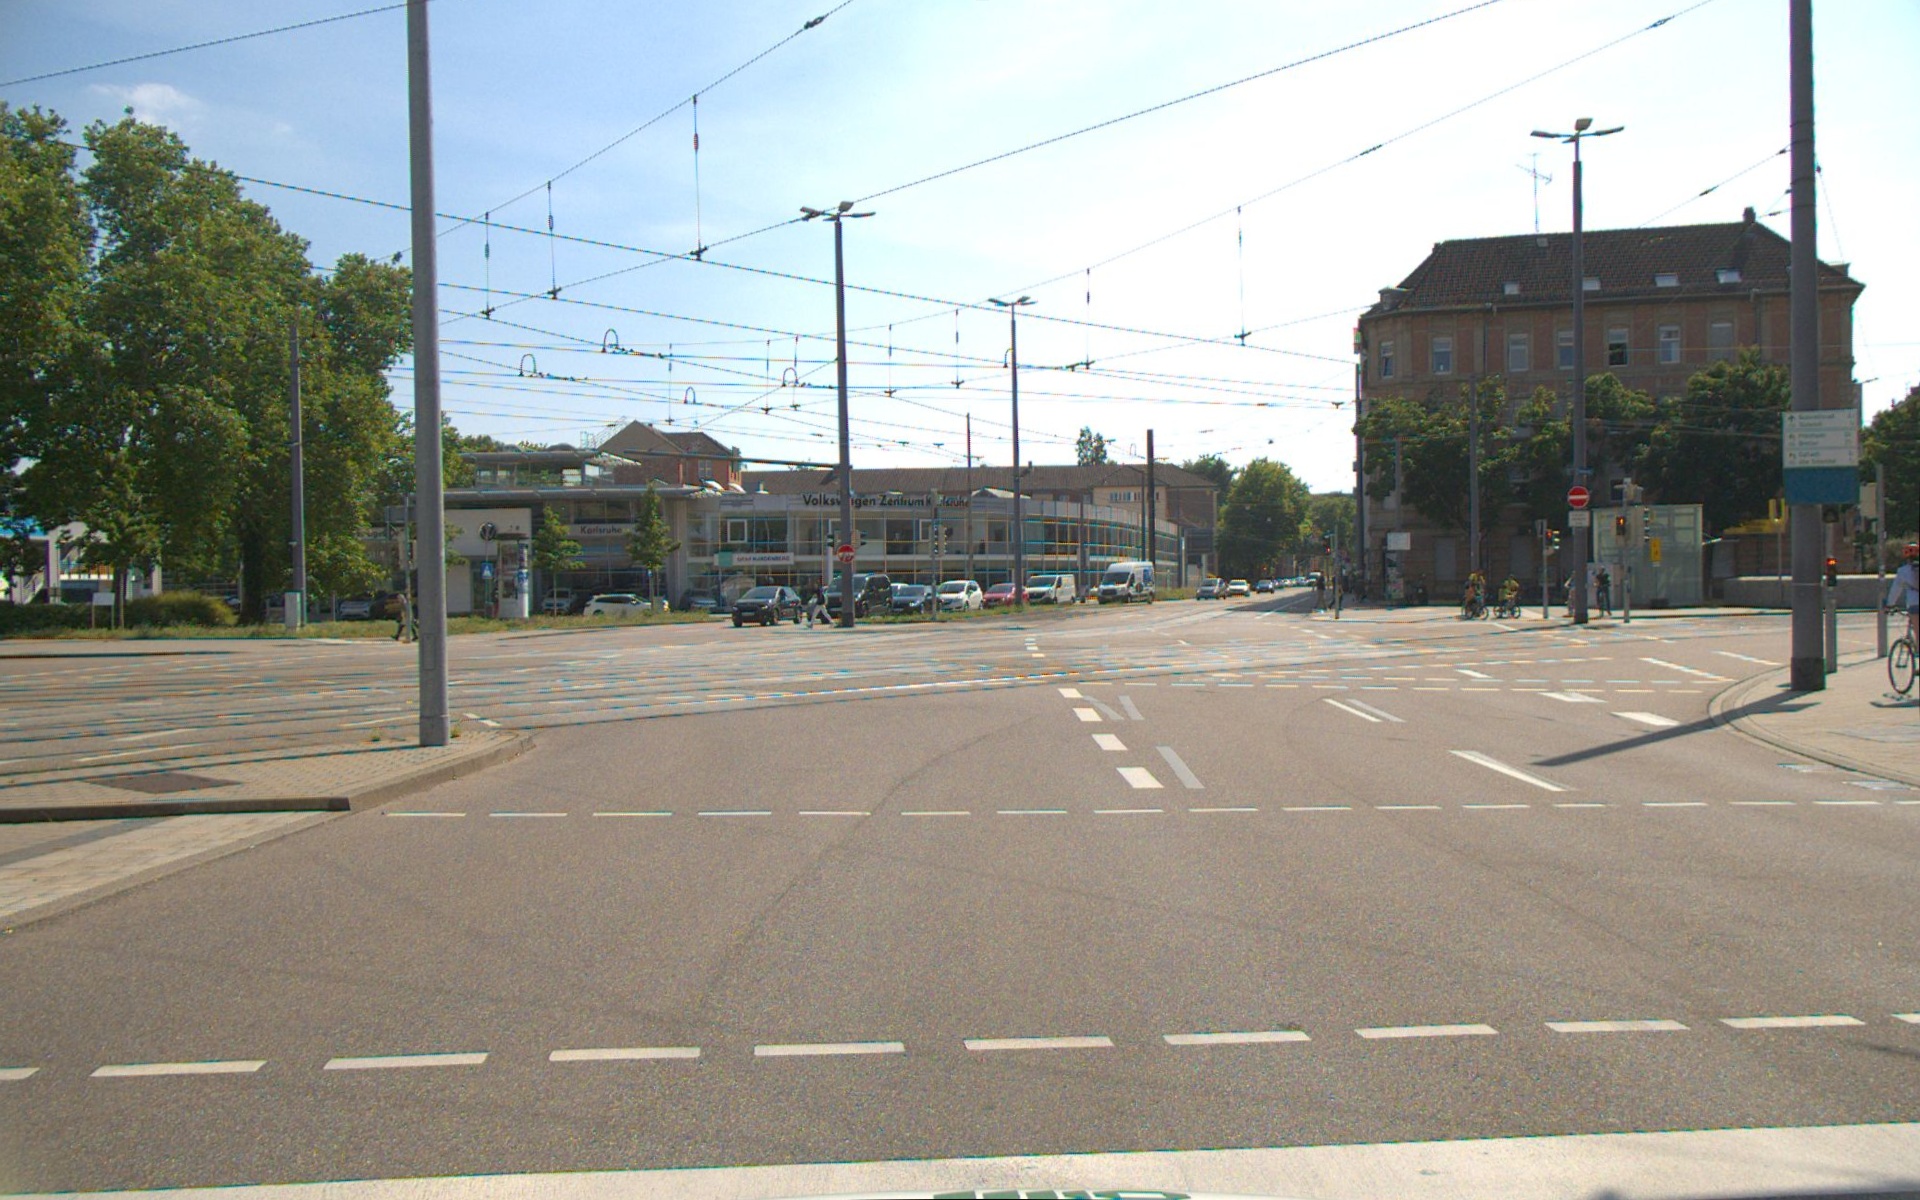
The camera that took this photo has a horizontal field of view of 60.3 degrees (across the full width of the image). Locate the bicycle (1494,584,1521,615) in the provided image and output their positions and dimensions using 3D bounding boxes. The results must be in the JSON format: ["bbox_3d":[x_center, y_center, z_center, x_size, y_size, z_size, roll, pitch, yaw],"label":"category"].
[{"bbox_3d":[20.427,-0.037,61.737,0.907,1.088,2.842,1,1,18],"label":"bicycle"}]

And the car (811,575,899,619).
[{"bbox_3d":[-4.045,-0.140,64.603,1.919,1.615,4.719,-1,1,16],"label":"car"}]

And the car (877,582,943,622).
[{"bbox_3d":[-2.113,0.108,71.145,1.854,1.615,4.003,-1,-1,14],"label":"car"}]

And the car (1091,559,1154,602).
[{"bbox_3d":[10.344,-1.198,104.822,2.165,2.620,5.870,1,0,25],"label":"car"}]

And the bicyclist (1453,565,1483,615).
[{"bbox_3d":[19.002,-0.377,61.832,0.907,1.852,1.053,1,0,9],"label":"bicyclist"}]

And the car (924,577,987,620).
[{"bbox_3d":[-0.189,-0.053,78.502,1.854,1.950,4.203,-1,-1,16],"label":"car"}]

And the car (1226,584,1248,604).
[{"bbox_3d":[23.774,-0.530,141.793,1.355,1.653,3.341,1,0,18],"label":"car"}]

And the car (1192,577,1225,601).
[{"bbox_3d":[18.772,-0.815,124.650,1.357,1.685,3.755,1,0,27],"label":"car"}]

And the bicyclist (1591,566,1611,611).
[{"bbox_3d":[23.870,-0.432,61.580,0.653,1.652,0.782,1,1,22],"label":"bicyclist"}]

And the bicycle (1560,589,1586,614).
[{"bbox_3d":[23.122,0.051,62.388,0.489,0.881,1.588,1,1,4],"label":"bicycle"}]

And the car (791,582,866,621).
[{"bbox_3d":[-5.598,0.087,70.779,1.854,1.615,4.002,-1,-1,16],"label":"car"}]

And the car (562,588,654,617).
[{"bbox_3d":[-18.678,0.143,87.814,4.487,1.461,1.445,1,0,6],"label":"car"}]

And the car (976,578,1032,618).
[{"bbox_3d":[2.310,-0.077,85.436,1.854,1.950,4.203,-1,-1,16],"label":"car"}]

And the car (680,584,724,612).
[{"bbox_3d":[-15.863,-0.117,101.509,1.794,1.646,3.972,1,0,-23],"label":"car"}]

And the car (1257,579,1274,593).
[{"bbox_3d":[32.633,-1.476,176.754,1.355,1.439,3.013,1,0,19],"label":"car"}]

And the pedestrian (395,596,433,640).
[{"bbox_3d":[-17.828,0.581,54.021,1.098,1.428,0.652,1,-1,-23],"label":"pedestrian"}]

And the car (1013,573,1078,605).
[{"bbox_3d":[4.876,-0.627,93.766,2.140,1.710,5.029,-1,0,22],"label":"car"}]

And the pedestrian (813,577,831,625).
[{"bbox_3d":[-4.679,0.028,56.127,0.449,1.633,0.395,1,-1,-37],"label":"pedestrian"}]

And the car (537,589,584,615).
[{"bbox_3d":[-24.135,0.116,100.102,1.953,1.512,3.998,-1,1,-2],"label":"car"}]

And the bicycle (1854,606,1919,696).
[{"bbox_3d":[12.097,0.620,20.875,0.699,1.033,2.022,-3,0,7],"label":"bicycle"}]

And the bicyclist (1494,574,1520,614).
[{"bbox_3d":[20.432,-0.235,61.750,0.907,1.477,1.252,1,1,18],"label":"bicyclist"}]

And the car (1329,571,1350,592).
[{"bbox_3d":[38.164,-1.866,166.293,2.063,2.049,4.004,-1,0,13],"label":"car"}]

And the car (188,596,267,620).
[{"bbox_3d":[-44.812,0.511,101.186,3.906,1.395,1.999,1,0,-1],"label":"car"}]

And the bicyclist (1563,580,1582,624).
[{"bbox_3d":[23.130,0.082,62.436,0.489,1.649,0.650,1,0,4],"label":"bicyclist"}]

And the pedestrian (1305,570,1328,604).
[{"bbox_3d":[15.286,-0.544,70.917,0.607,1.458,0.703,1,-1,-38],"label":"pedestrian"}]

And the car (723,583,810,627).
[{"bbox_3d":[-7.437,0.201,63.941,1.851,1.615,4.213,-1,-1,16],"label":"car"}]

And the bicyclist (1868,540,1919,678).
[{"bbox_3d":[12.061,0.099,20.868,0.699,1.698,0.875,-3,0,7],"label":"bicyclist"}]

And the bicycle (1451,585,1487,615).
[{"bbox_3d":[18.968,0.013,61.680,0.907,1.088,2.749,1,0,9],"label":"bicycle"}]

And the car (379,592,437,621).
[{"bbox_3d":[-33.623,0.385,100.799,1.951,1.713,4.002,1,0,4],"label":"car"}]

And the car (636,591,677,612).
[{"bbox_3d":[-18.279,0.099,99.771,1.793,1.216,3.998,1,0,-2],"label":"car"}]

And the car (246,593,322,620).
[{"bbox_3d":[-42.593,0.392,104.262,3.907,1.579,1.999,-1,0,-2],"label":"car"}]

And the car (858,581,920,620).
[{"bbox_3d":[-3.321,0.040,78.134,1.616,1.769,4.203,-1,-1,16],"label":"car"}]

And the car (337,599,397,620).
[{"bbox_3d":[-35.931,0.567,100.369,1.951,1.266,4.002,1,0,4],"label":"car"}]

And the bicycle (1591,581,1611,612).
[{"bbox_3d":[23.826,-0.142,61.473,0.653,1.088,2.463,1,1,22],"label":"bicycle"}]
